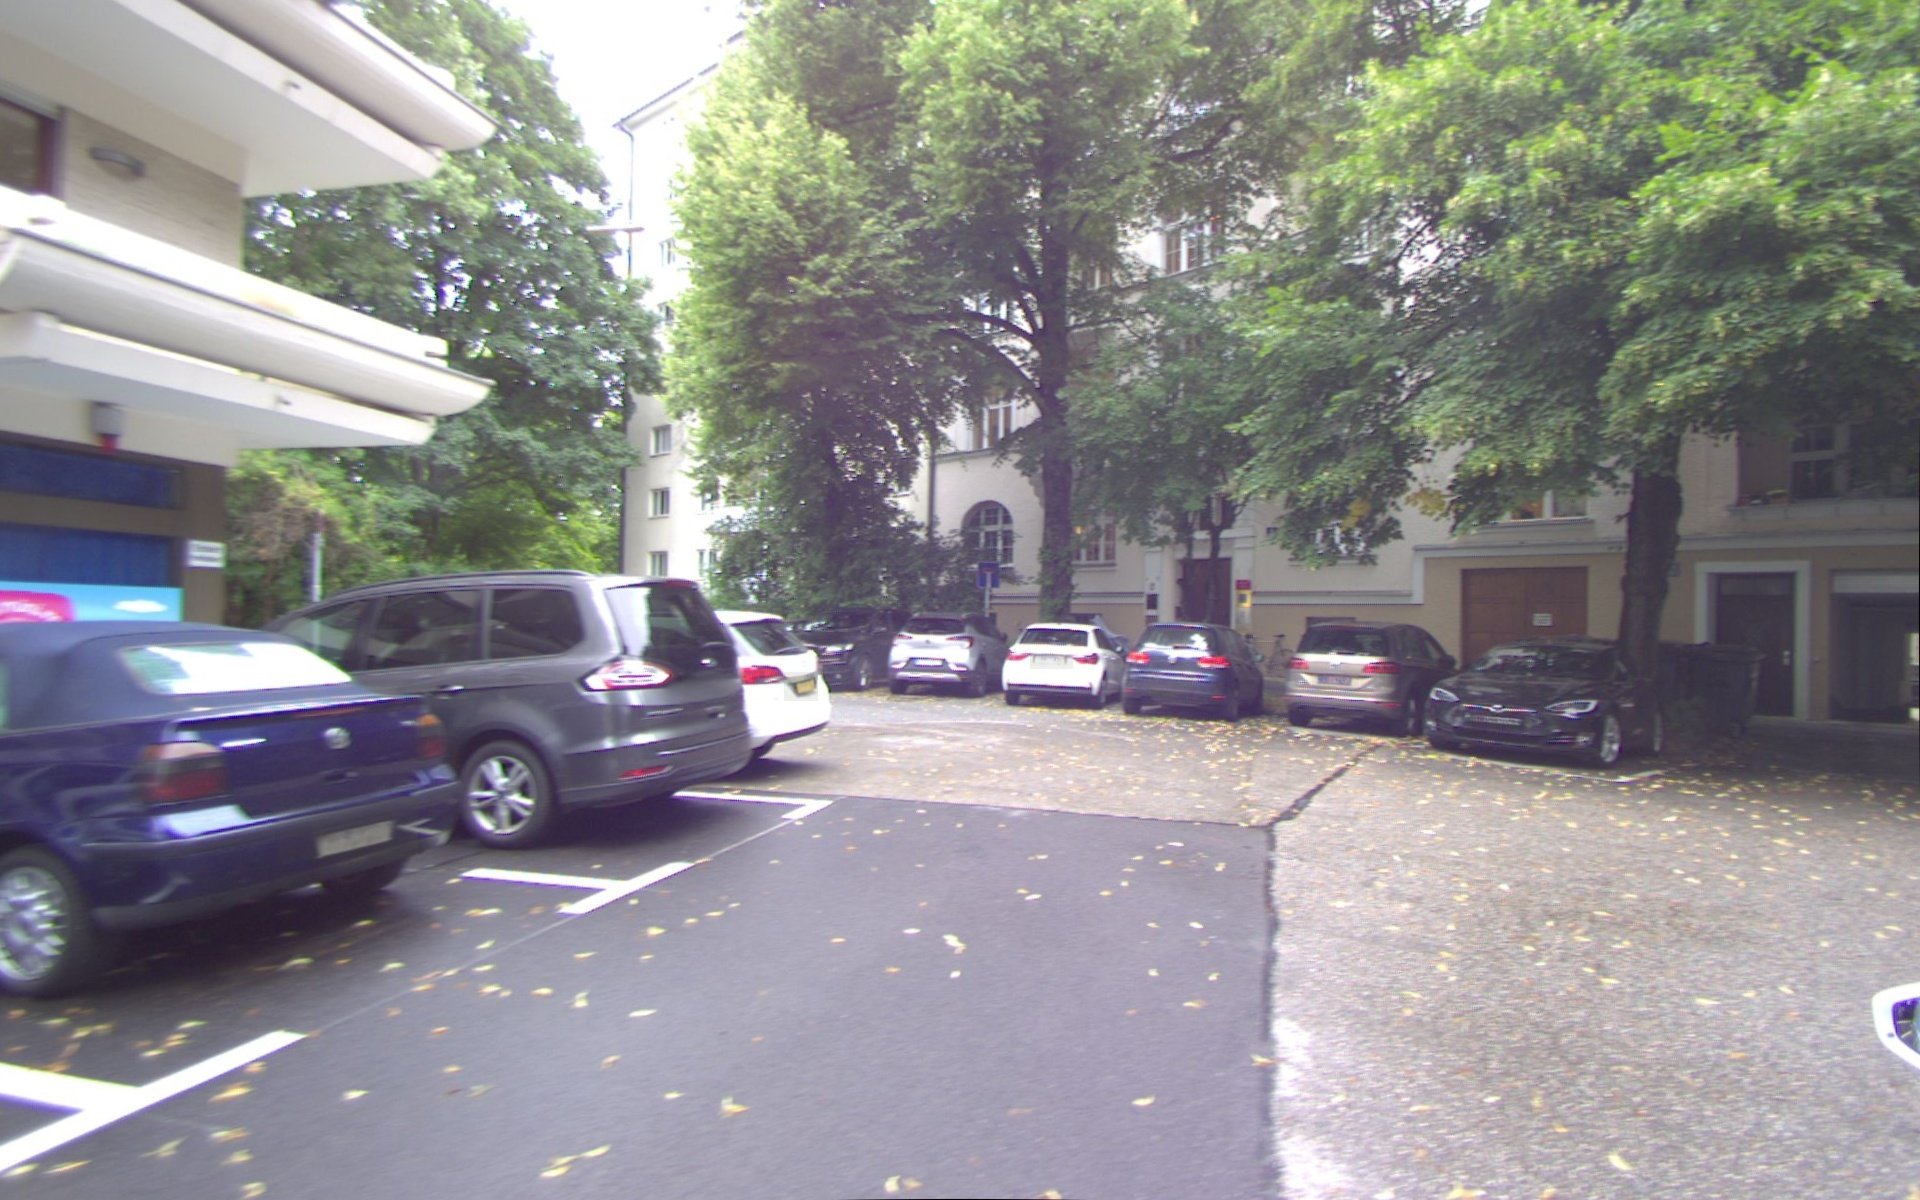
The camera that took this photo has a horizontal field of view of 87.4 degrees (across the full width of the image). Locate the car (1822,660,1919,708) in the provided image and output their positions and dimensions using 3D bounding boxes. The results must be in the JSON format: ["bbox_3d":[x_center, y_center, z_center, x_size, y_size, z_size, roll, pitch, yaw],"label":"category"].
[{"bbox_3d":[34.867,3.154,37.638,3.797,1.539,1.650,1,-1,38],"label":"car"}]

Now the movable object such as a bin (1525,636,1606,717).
[{"bbox_3d":[10.957,1.357,18.181,1.105,1.366,0.860,2,0,41],"label":"movable object such as a bin"}]

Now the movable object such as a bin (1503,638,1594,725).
[{"bbox_3d":[10.105,1.359,17.246,1.136,1.366,1.151,2,0,41],"label":"movable object such as a bin"}]

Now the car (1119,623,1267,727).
[{"bbox_3d":[3.969,1.134,16.635,1.762,1.450,3.999,2,-1,22],"label":"car"}]

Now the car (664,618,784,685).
[{"bbox_3d":[-5.878,1.244,25.500,1.689,1.497,4.002,2,-1,6],"label":"car"}]

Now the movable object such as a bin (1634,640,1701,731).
[{"bbox_3d":[11.415,1.343,16.190,0.705,1.365,1.366,1,-1,42],"label":"movable object such as a bin"}]

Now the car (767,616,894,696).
[{"bbox_3d":[-2.559,1.089,20.880,2.022,1.420,4.001,2,-1,1],"label":"car"}]

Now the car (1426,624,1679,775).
[{"bbox_3d":[7.505,1.193,12.525,1.686,1.486,4.263,3,-2,45],"label":"car"}]

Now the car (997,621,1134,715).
[{"bbox_3d":[2.030,1.142,18.233,1.690,1.450,4.001,2,-1,17],"label":"car"}]

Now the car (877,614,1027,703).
[{"bbox_3d":[-0.035,1.098,20.117,1.838,1.530,4.001,2,-1,17],"label":"car"}]

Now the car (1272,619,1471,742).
[{"bbox_3d":[6.368,1.128,15.276,1.815,1.550,4.010,1,-1,37],"label":"car"}]

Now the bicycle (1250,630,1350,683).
[{"bbox_3d":[8.102,1.320,24.019,2.205,1.130,0.573,1,-1,44],"label":"bicycle"}]

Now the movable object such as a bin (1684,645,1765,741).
[{"bbox_3d":[11.760,1.388,15.439,0.852,1.322,1.425,3,1,41],"label":"movable object such as a bin"}]

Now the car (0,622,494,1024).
[{"bbox_3d":[-4.535,0.831,4.820,3.990,1.385,1.719,-1,-1,15],"label":"car"}]

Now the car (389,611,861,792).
[{"bbox_3d":[-3.129,0.921,9.673,3.919,1.498,1.837,-2,-2,14],"label":"car"}]

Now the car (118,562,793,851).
[{"bbox_3d":[-3.543,0.691,7.338,4.148,1.706,1.903,-1,-1,13],"label":"car"}]
